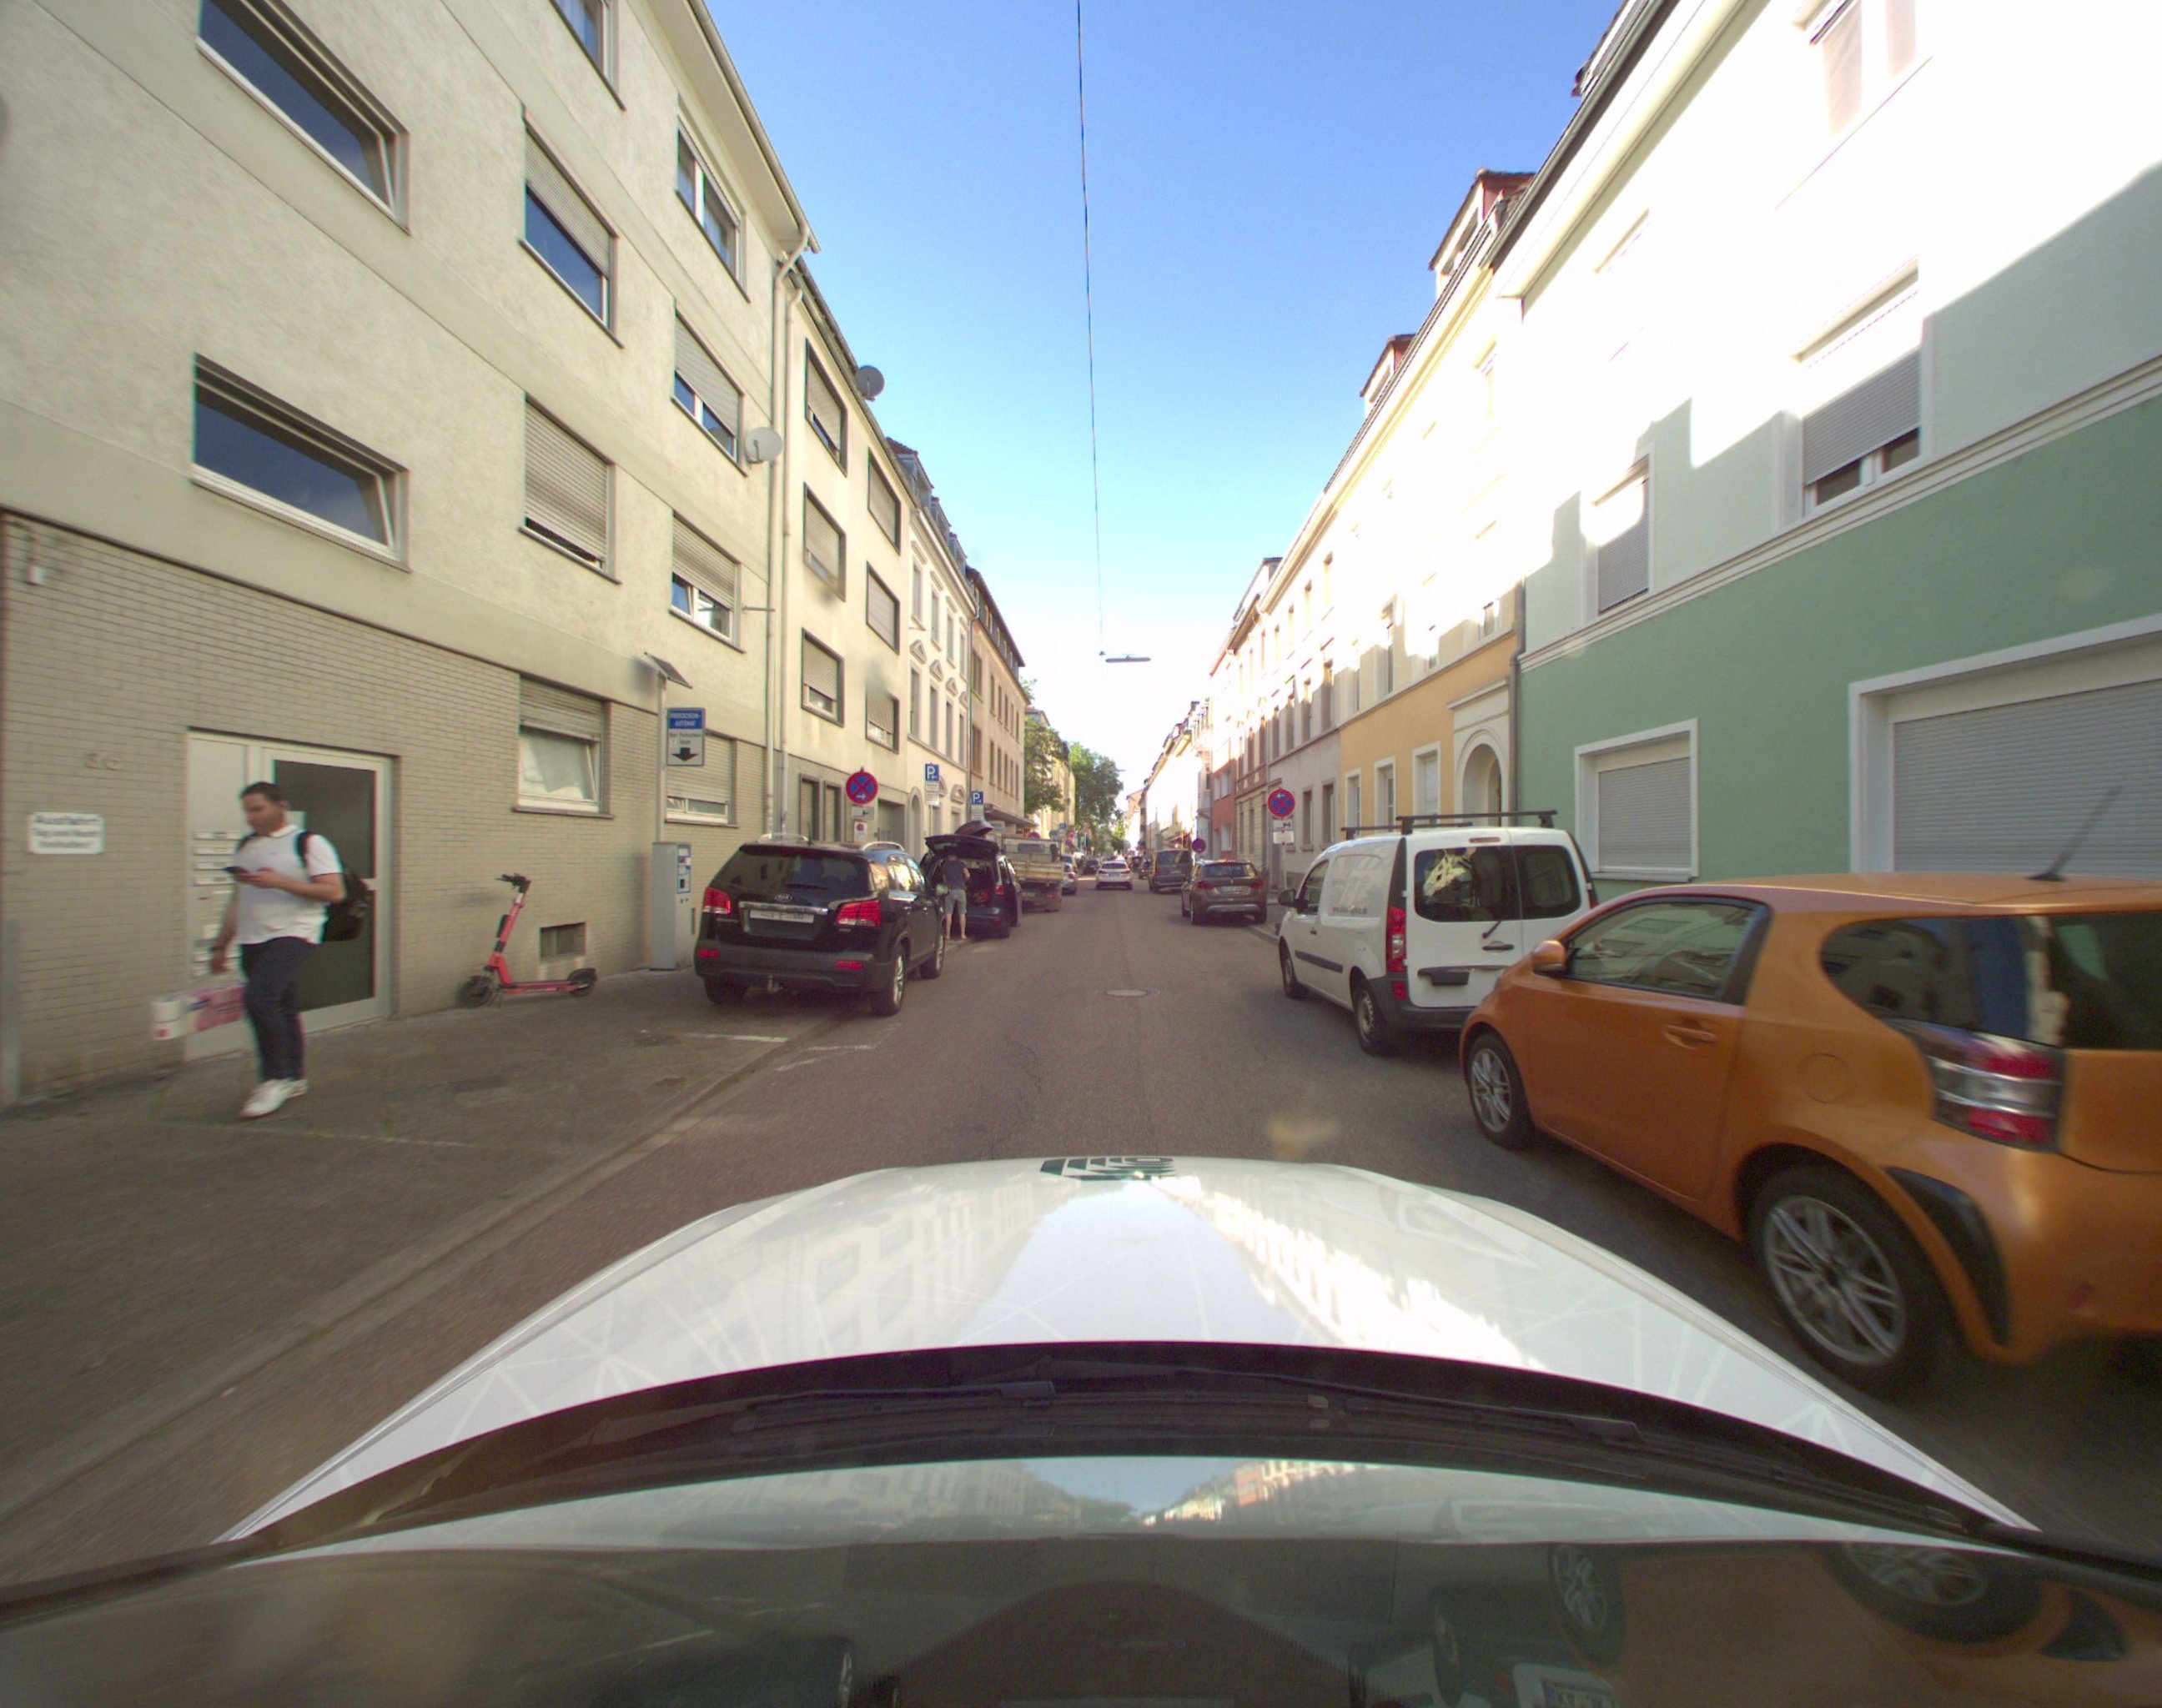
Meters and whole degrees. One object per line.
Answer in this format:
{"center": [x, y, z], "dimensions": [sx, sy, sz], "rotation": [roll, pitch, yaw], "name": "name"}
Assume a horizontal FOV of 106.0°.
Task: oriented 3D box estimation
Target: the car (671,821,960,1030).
{"center": [-2.680, 0.629, 9.489], "dimensions": [1.874, 1.755, 4.540], "rotation": [3, 0, -1], "name": "car"}

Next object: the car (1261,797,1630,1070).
{"center": [3.106, 0.594, 8.038], "dimensions": [1.776, 1.961, 4.336], "rotation": [0, -1, 1], "name": "car"}

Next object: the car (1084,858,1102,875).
{"center": [1.209, 1.201, 78.373], "dimensions": [1.618, 1.597, 3.582], "rotation": [1, 0, 2], "name": "car"}

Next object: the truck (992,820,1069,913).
{"center": [-1.541, 0.430, 25.980], "dimensions": [2.151, 2.590, 6.242], "rotation": [0, -1, -2], "name": "truck"}

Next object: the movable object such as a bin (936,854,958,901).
{"center": [-4.508, 0.784, 27.397], "dimensions": [0.637, 1.532, 0.587], "rotation": [0, -1, 2], "name": "movable object such as a bin"}

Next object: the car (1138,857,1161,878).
{"center": [5.310, 1.049, 63.103], "dimensions": [1.640, 1.576, 3.681], "rotation": [0, 0, 2], "name": "car"}

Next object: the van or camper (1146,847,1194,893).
{"center": [4.151, 0.736, 38.556], "dimensions": [1.769, 2.036, 4.569], "rotation": [-1, -1, 0], "name": "van or camper"}

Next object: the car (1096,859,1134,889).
{"center": [1.769, 0.997, 41.685], "dimensions": [1.826, 1.486, 4.060], "rotation": [0, 0, 3], "name": "car"}

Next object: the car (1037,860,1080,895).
{"center": [-0.967, 1.022, 37.112], "dimensions": [1.752, 1.415, 4.000], "rotation": [-2, 0, 1], "name": "car"}

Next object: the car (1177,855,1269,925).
{"center": [3.500, 0.825, 20.752], "dimensions": [1.733, 1.577, 4.379], "rotation": [0, 0, 2], "name": "car"}

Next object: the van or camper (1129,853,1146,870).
{"center": [6.999, 0.947, 100.928], "dimensions": [1.986, 1.926, 4.002], "rotation": [0, -2, 2], "name": "van or camper"}

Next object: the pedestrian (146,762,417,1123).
{"center": [-4.659, 0.481, 4.804], "dimensions": [0.803, 1.934, 0.691], "rotation": [3, 0, 2], "name": "pedestrian"}

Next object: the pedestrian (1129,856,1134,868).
{"center": [6.373, 0.988, 102.132], "dimensions": [0.625, 1.464, 0.575], "rotation": [0, -2, 2], "name": "pedestrian"}

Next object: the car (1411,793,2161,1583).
{"center": [2.992, 0.713, 3.545], "dimensions": [1.575, 1.632, 3.681], "rotation": [2, 0, 0], "name": "car"}

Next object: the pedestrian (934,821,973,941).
{"center": [-2.423, 0.515, 15.562], "dimensions": [0.616, 2.229, 0.688], "rotation": [0, -2, 2], "name": "pedestrian"}

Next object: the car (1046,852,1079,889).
{"center": [-0.954, 0.842, 42.761], "dimensions": [1.642, 1.868, 3.999], "rotation": [0, 0, -1], "name": "car"}

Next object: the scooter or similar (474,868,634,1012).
{"center": [-5.121, 0.792, 7.964], "dimensions": [0.433, 1.278, 1.241], "rotation": [-1, -1, 43], "name": "scooter or similar"}

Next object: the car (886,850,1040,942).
{"center": [-2.367, 0.797, 18.014], "dimensions": [2.432, 1.706, 5.245], "rotation": [1, 0, 2], "name": "car"}

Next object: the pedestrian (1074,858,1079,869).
{"center": [-0.614, 1.268, 108.751], "dimensions": [0.625, 1.464, 0.575], "rotation": [0, -2, 2], "name": "pedestrian"}
